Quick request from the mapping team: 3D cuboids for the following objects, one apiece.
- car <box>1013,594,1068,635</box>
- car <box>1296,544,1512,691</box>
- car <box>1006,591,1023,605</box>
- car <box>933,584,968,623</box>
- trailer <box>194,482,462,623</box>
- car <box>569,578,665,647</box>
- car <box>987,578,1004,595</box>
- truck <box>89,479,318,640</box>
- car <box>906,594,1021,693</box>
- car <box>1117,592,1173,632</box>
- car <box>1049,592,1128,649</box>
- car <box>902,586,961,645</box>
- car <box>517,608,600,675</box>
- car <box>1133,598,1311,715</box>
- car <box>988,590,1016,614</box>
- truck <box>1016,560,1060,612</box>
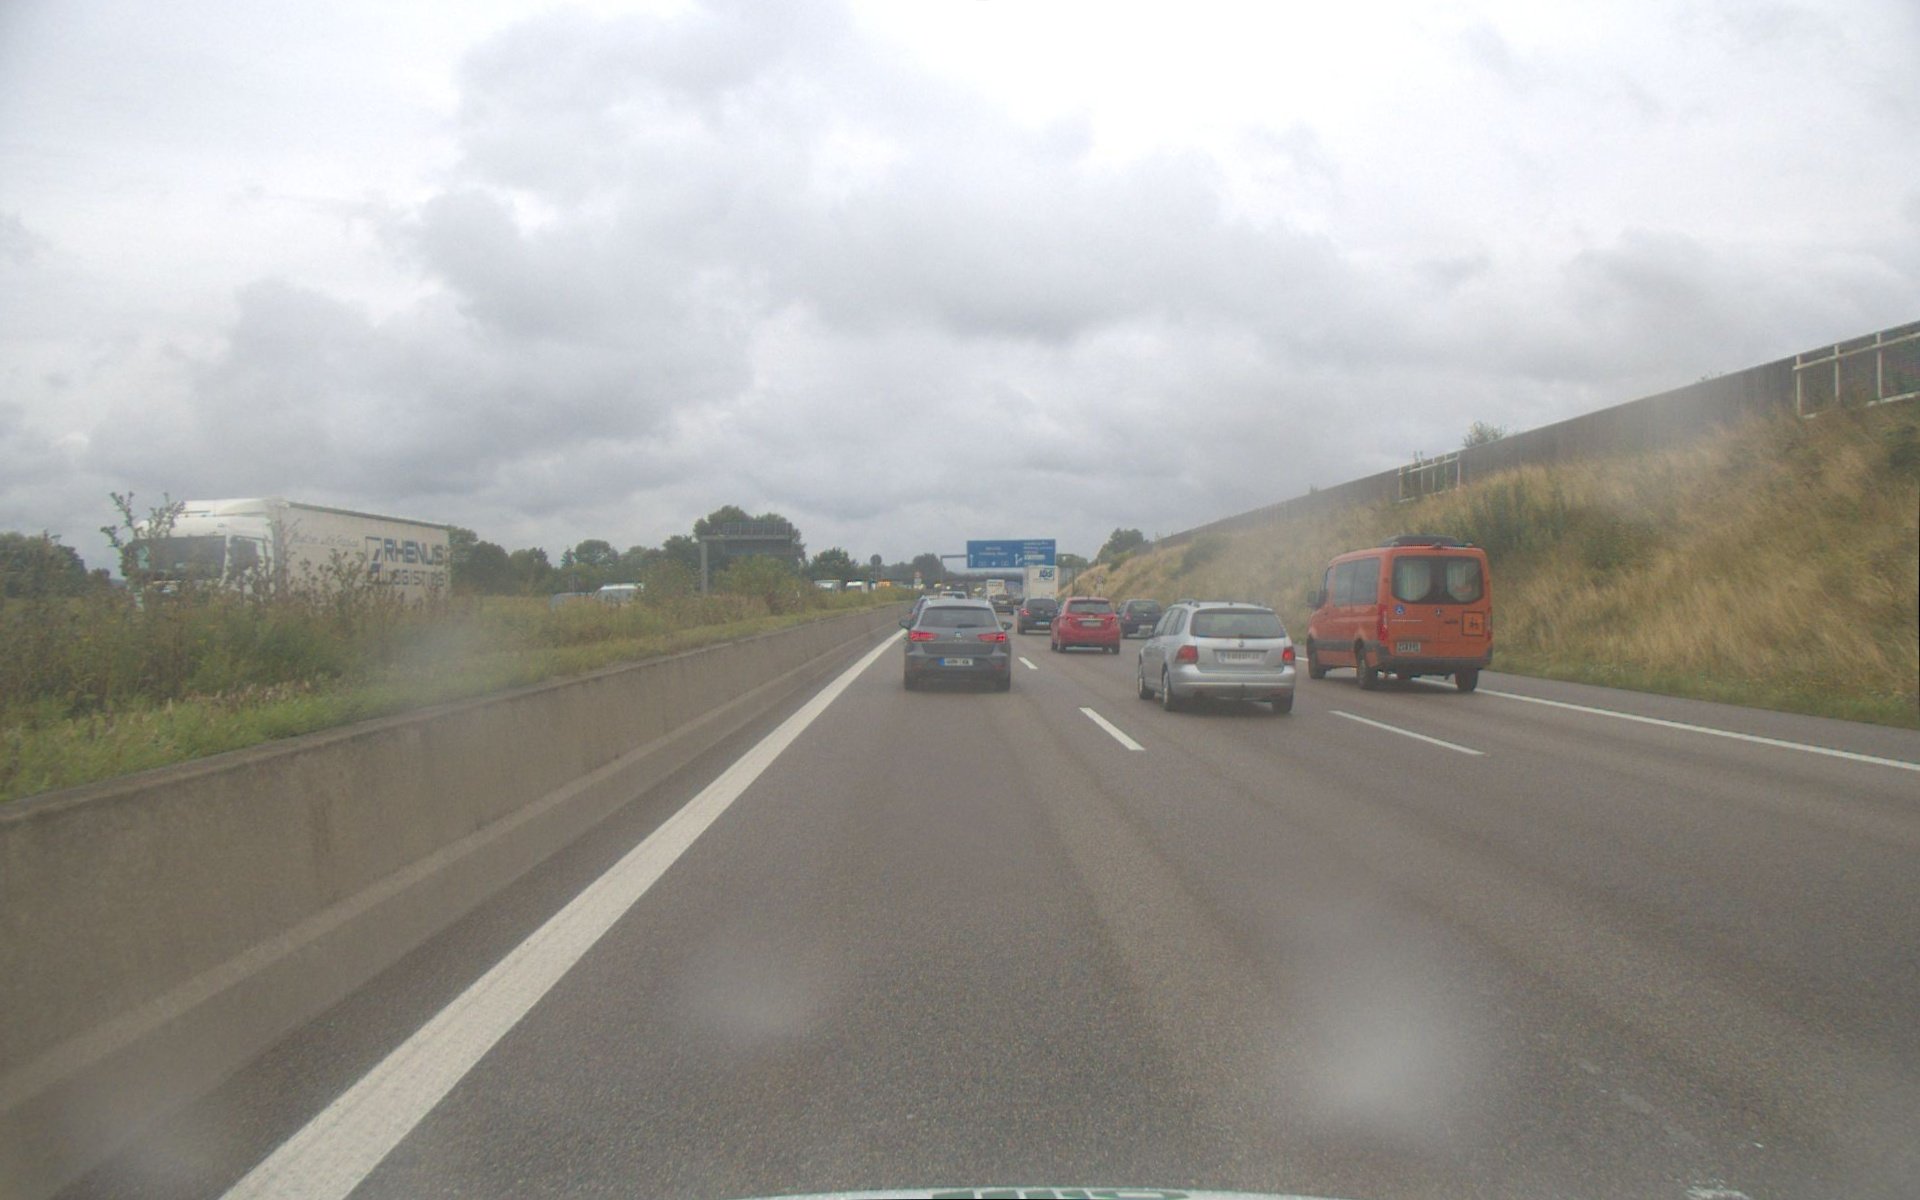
[{"bbox_3d":[3.167,0.546,65.847,1.882,1.548,4.621,0,0,-1],"label":"car"},{"bbox_3d":[7.764,0.256,29.647,2.044,2.355,6.179,0,0,-2],"label":"car"},{"bbox_3d":[7.306,-0.313,222.348,1.953,1.892,4.390,0,0,-1],"label":"car"},{"bbox_3d":[-0.463,0.181,82.096,1.670,1.828,3.855,-2,0,0],"label":"car"},{"bbox_3d":[-17.846,-1.175,48.137,2.855,3.488,13.239,1,0,-1],"label":"trailer"},{"bbox_3d":[-9.943,0.336,48.289,1.782,1.870,4.800,-1,0,-1],"label":"car"},{"bbox_3d":[4.352,-1.652,203.867,1.953,2.049,3.999,-1,0,-2],"label":"car"},{"bbox_3d":[-17.726,-0.881,39.185,2.909,3.488,5.626,1,0,-2],"label":"truck"},{"bbox_3d":[0.049,0.674,27.240,1.732,1.493,4.000,1,0,0],"label":"car"},{"bbox_3d":[6.809,0.444,61.100,1.667,1.426,3.875,1,0,1],"label":"car"},{"bbox_3d":[3.507,0.521,45.932,1.852,1.472,4.685,0,0,0],"label":"car"},{"bbox_3d":[-0.863,0.476,51.965,1.718,1.780,4.000,1,0,1],"label":"car"},{"bbox_3d":[-13.206,1.315,54.563,1.755,2.049,3.999,-1,0,-1],"label":"car"},{"bbox_3d":[3.565,0.707,23.241,1.706,1.450,4.516,-1,0,-1],"label":"car"},{"bbox_3d":[3.131,0.157,124.143,1.808,1.716,3.998,1,0,-2],"label":"car"},{"bbox_3d":[6.933,-1.169,150.456,3.216,4.370,19.033,1,0,0],"label":"truck"}]
